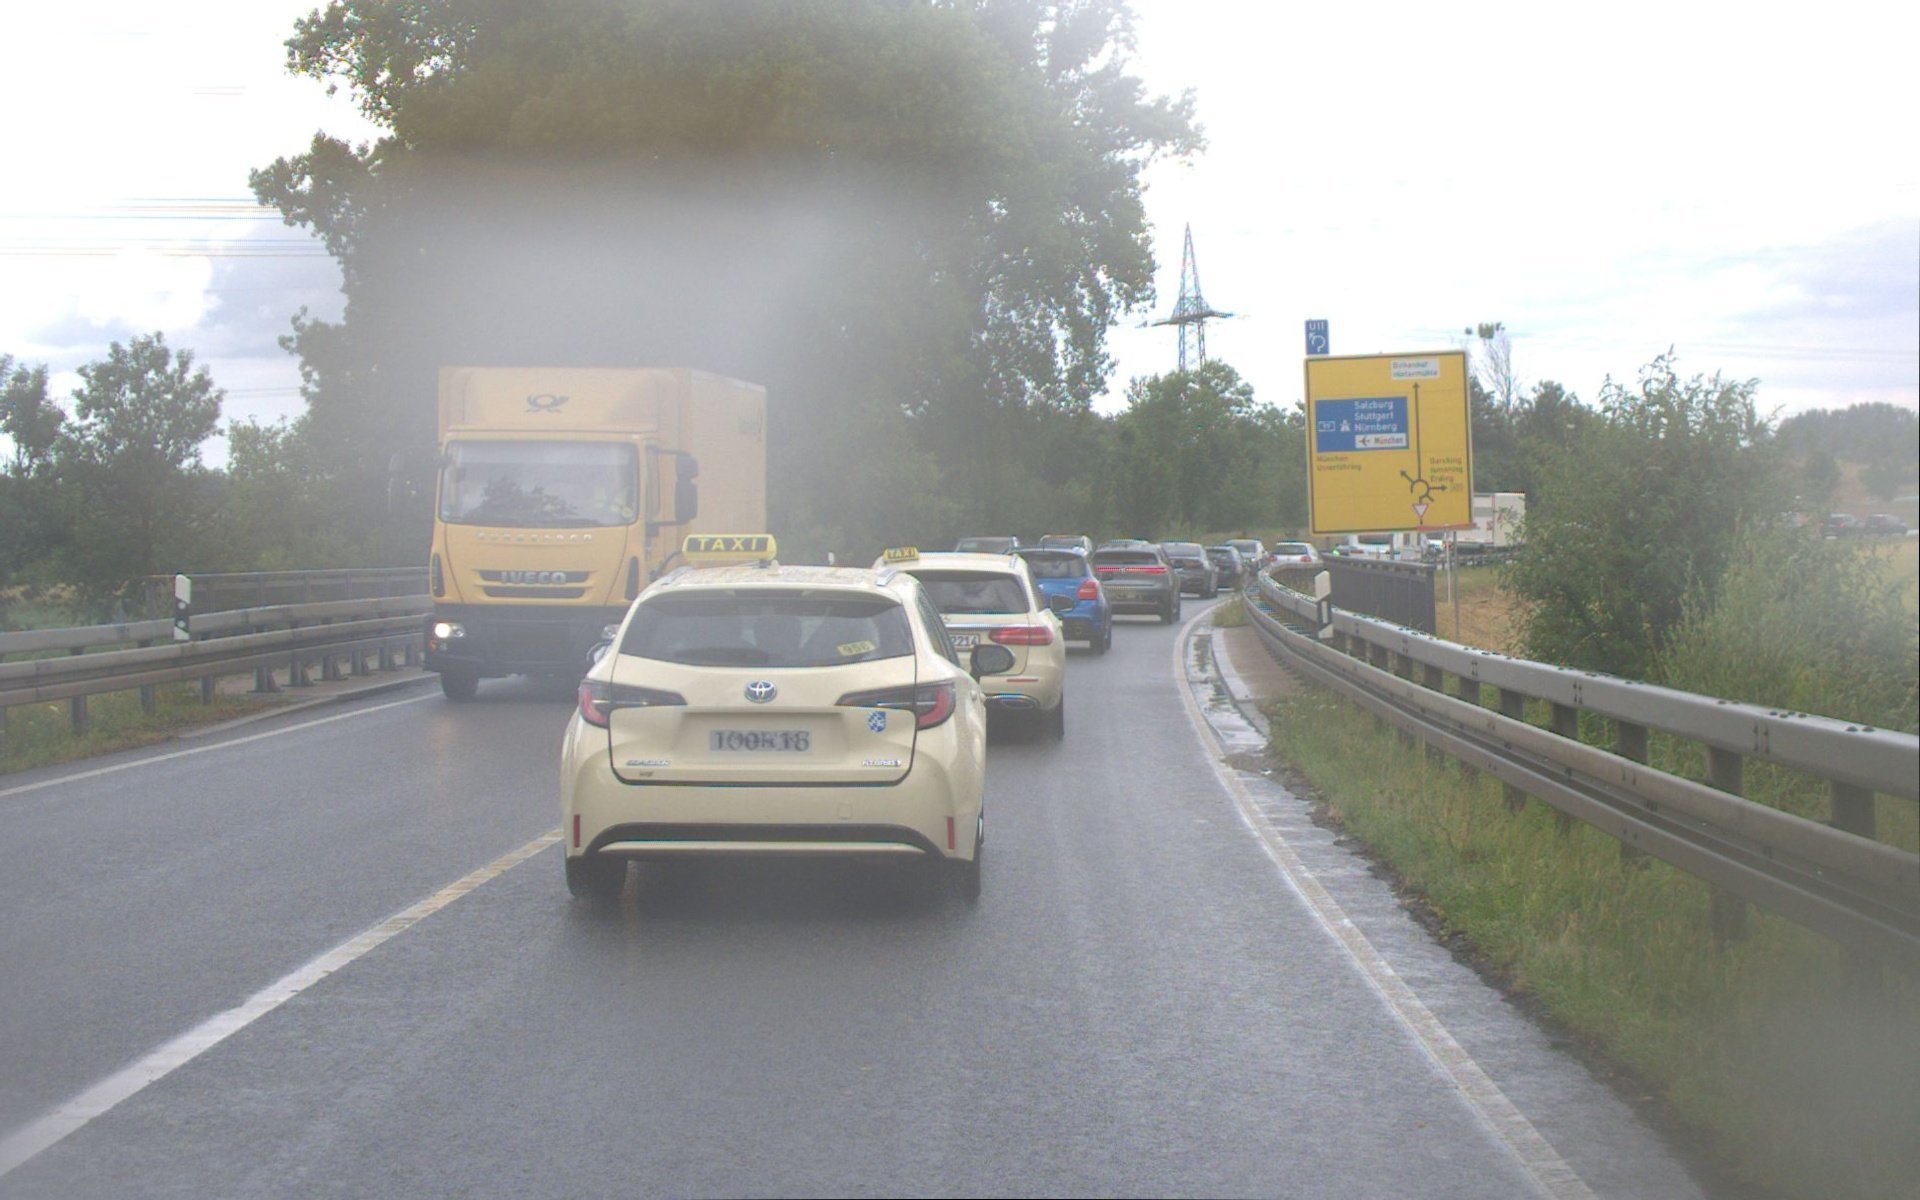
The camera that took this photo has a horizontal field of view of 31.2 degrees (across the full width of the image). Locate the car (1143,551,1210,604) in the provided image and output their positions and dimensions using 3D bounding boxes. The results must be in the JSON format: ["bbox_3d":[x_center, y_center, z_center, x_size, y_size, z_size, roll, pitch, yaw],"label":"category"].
[{"bbox_3d":[5.833,-0.592,92.352,1.660,1.404,3.903,0,0,6],"label":"car"}]

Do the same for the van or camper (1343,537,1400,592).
[{"bbox_3d":[17.201,-1.475,143.553,1.994,2.246,3.998,1,0,12],"label":"van or camper"}]

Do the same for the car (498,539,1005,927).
[{"bbox_3d":[-0.804,0.499,15.730,1.906,1.532,4.161,0,1,2],"label":"car"}]

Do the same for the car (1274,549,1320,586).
[{"bbox_3d":[12.054,-1.159,122.921,1.483,1.304,3.476,0,1,8],"label":"car"}]

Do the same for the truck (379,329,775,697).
[{"bbox_3d":[-3.865,-0.892,37.021,2.771,3.417,9.187,1,1,3],"label":"truck"}]

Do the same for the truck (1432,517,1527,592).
[{"bbox_3d":[25.442,-2.186,168.038,3.143,3.550,7.514,1,0,20],"label":"truck"}]

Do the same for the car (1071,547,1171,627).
[{"bbox_3d":[3.044,-0.259,64.554,1.665,1.459,3.476,0,1,6],"label":"car"}]

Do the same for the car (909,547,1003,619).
[{"bbox_3d":[-0.068,-0.440,83.236,1.746,1.648,4.523,0,2,6],"label":"car"}]

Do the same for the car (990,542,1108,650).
[{"bbox_3d":[1.265,-0.076,47.773,1.506,1.432,3.355,1,1,3],"label":"car"}]

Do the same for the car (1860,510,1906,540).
[{"bbox_3d":[63.724,-5.179,237.256,1.997,2.007,3.993,1,0,31],"label":"car"}]

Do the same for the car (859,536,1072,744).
[{"bbox_3d":[0.100,0.278,27.867,1.578,1.567,3.681,0,1,2],"label":"car"}]

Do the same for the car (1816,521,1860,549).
[{"bbox_3d":[58.984,-4.361,230.972,1.822,1.831,3.982,1,0,30],"label":"car"}]

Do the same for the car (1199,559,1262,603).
[{"bbox_3d":[8.305,-0.602,105.442,1.483,1.304,3.475,0,1,12],"label":"car"}]
